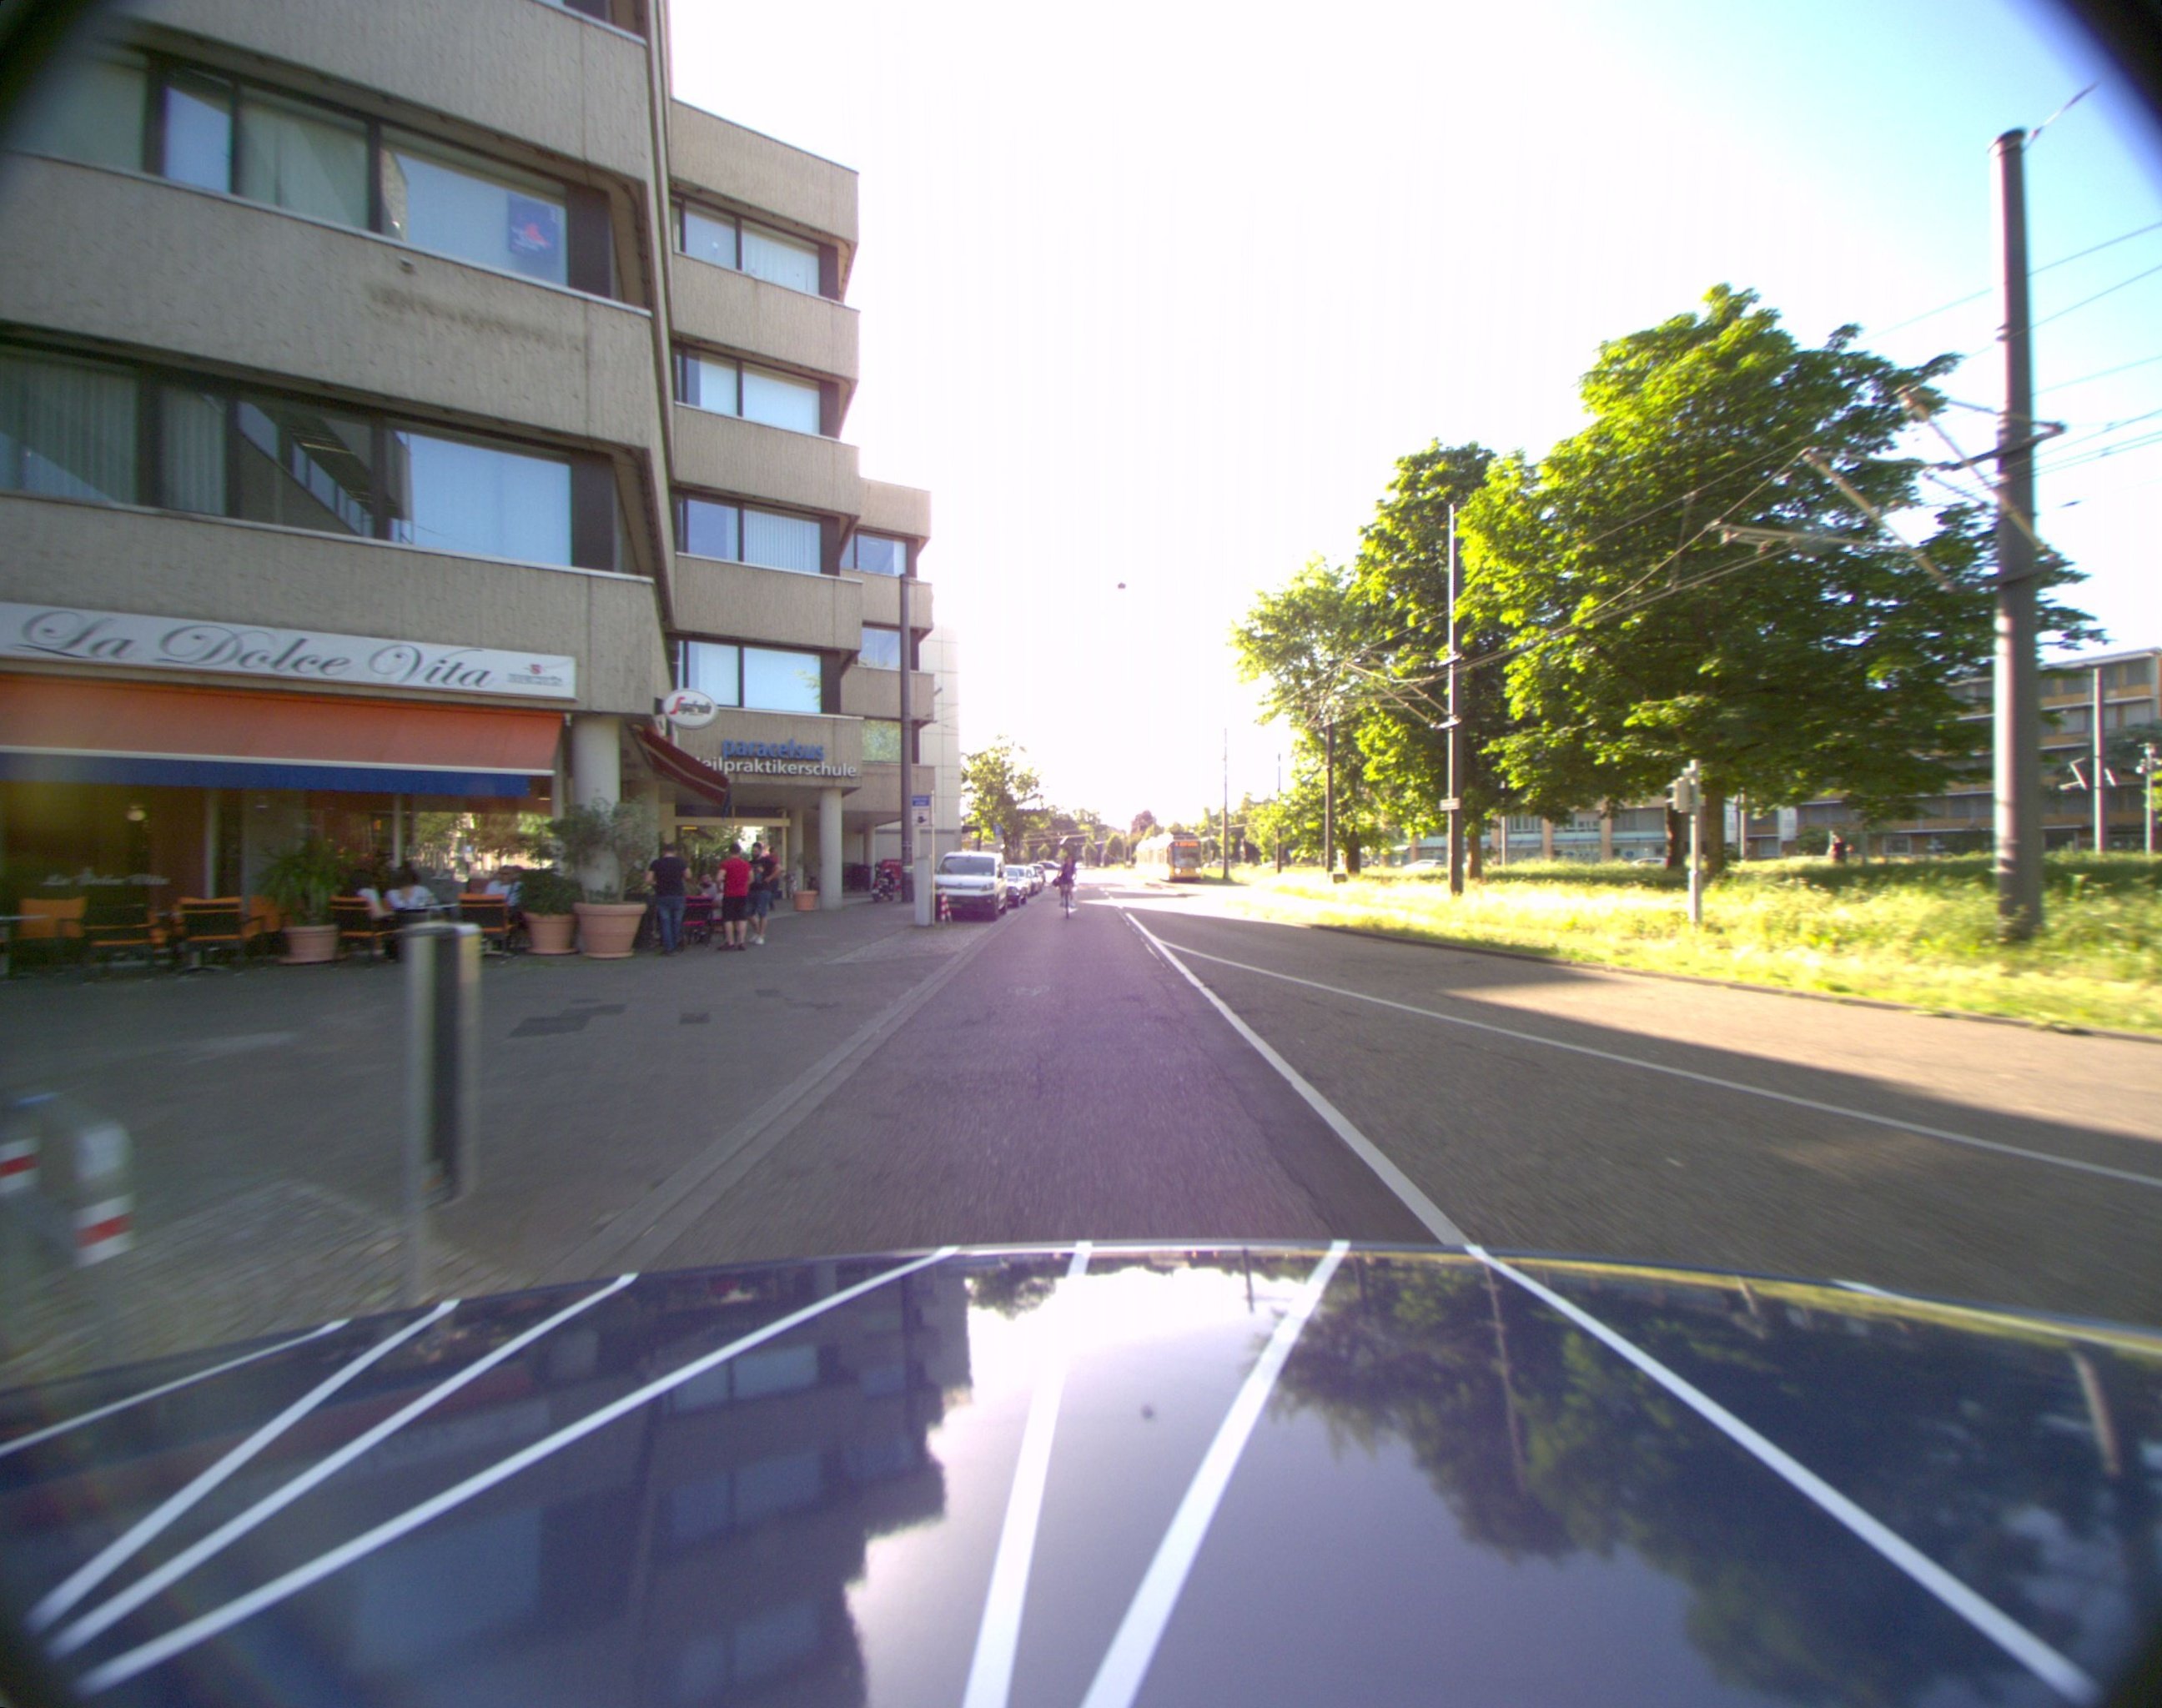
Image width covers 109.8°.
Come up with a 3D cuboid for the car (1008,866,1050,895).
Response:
[{"bbox_3d":[-2.917,1.475,43.395,1.855,1.336,4.599,-2,1,2],"label":"car"}]

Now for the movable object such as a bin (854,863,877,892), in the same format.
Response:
[{"bbox_3d":[-10.813,1.158,38.130,0.794,1.375,0.852,-2,1,8],"label":"movable object such as a bin"}]

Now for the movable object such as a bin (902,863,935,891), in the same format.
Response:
[{"bbox_3d":[-8.354,1.176,39.122,1.338,1.389,1.122,-2,1,7],"label":"movable object such as a bin"}]

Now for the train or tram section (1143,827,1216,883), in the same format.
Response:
[{"bbox_3d":[7.030,0.141,56.830,2.957,3.663,13.181,-1,-1,-3],"label":"train or tram section"}]

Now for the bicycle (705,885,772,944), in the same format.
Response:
[{"bbox_3d":[-6.851,1.179,15.285,0.564,1.028,1.644,-2,1,0],"label":"bicycle"}]

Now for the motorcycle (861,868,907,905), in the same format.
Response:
[{"bbox_3d":[-6.850,1.097,26.522,0.765,1.148,2.049,2,1,9],"label":"motorcycle"}]

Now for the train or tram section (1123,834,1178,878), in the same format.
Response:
[{"bbox_3d":[6.188,0.265,69.886,2.957,3.591,13.631,-1,-1,-3],"label":"train or tram section"}]

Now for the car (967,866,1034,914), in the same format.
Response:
[{"bbox_3d":[-2.870,1.254,28.151,1.778,1.445,4.731,-2,1,2],"label":"car"}]

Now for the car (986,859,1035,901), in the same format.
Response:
[{"bbox_3d":[-3.130,1.110,34.624,1.856,1.679,3.866,-2,1,-1],"label":"car"}]

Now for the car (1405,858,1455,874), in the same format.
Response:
[{"bbox_3d":[37.351,1.304,81.375,2.002,1.587,4.646,-2,1,-26],"label":"car"}]

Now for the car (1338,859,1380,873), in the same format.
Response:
[{"bbox_3d":[36.869,1.560,100.873,2.127,1.658,5.200,-2,1,-25],"label":"car"}]

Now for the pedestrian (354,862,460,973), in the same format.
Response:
[{"bbox_3d":[-9.020,0.822,10.210,0.845,1.394,0.829,-1,-1,-25],"label":"pedestrian"}]

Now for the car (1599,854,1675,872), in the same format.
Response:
[{"bbox_3d":[46.932,0.753,64.219,2.003,1.346,4.756,-2,-1,-34],"label":"car"}]

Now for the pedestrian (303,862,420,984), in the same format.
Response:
[{"bbox_3d":[-8.856,0.816,9.396,0.845,1.394,0.751,-2,0,-30],"label":"pedestrian"}]

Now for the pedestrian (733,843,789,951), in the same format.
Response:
[{"bbox_3d":[-5.613,0.739,13.359,0.672,1.845,0.610,2,1,3],"label":"pedestrian"}]

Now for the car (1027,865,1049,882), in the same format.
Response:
[{"bbox_3d":[-3.601,1.628,64.197,1.770,1.429,4.582,0,-1,-2],"label":"car"}]

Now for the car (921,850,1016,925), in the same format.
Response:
[{"bbox_3d":[-3.005,0.824,21.223,1.999,1.802,4.308,-2,1,-1],"label":"car"}]

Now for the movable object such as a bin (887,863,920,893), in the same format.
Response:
[{"bbox_3d":[-8.859,1.185,37.986,1.303,1.425,0.959,-2,1,8],"label":"movable object such as a bin"}]

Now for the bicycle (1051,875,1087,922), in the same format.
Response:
[{"bbox_3d":[-0.317,1.216,21.390,0.888,1.129,2.228,-2,1,1],"label":"bicycle"}]

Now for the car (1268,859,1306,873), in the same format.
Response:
[{"bbox_3d":[27.556,1.619,101.862,2.109,1.724,5.075,-1,0,-26],"label":"car"}]

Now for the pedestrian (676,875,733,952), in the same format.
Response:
[{"bbox_3d":[-6.396,0.998,12.937,0.631,1.229,0.624,1,1,3],"label":"pedestrian"}]

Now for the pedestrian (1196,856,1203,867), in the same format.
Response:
[{"bbox_3d":[21.764,1.301,139.946,0.880,2.002,0.923,-2,1,-24],"label":"pedestrian"}]

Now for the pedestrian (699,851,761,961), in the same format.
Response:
[{"bbox_3d":[-5.687,0.821,12.342,0.585,1.704,0.698,-2,1,3],"label":"pedestrian"}]

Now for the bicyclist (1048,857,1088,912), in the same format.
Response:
[{"bbox_3d":[-0.343,0.840,21.398,1.040,1.475,0.988,-2,1,1],"label":"bicyclist"}]

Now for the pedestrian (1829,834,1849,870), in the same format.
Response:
[{"bbox_3d":[34.796,-0.106,34.887,0.553,1.606,0.676,-1,1,38],"label":"pedestrian"}]

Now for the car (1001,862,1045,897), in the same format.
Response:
[{"bbox_3d":[-2.884,1.250,38.645,1.675,1.510,4.199,-2,1,2],"label":"car"}]

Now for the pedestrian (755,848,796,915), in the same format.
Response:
[{"bbox_3d":[-8.472,0.747,21.081,0.704,1.805,0.718,-1,1,39],"label":"pedestrian"}]

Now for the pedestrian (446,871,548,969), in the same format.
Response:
[{"bbox_3d":[-8.096,0.892,10.576,0.844,1.284,0.830,1,1,-12],"label":"pedestrian"}]

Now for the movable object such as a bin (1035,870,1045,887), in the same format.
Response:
[{"bbox_3d":[-2.717,1.608,50.550,0.594,1.077,0.604,-2,1,-3],"label":"movable object such as a bin"}]

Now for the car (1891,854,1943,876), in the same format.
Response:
[{"bbox_3d":[66.919,0.849,60.897,1.994,1.572,4.007,-1,1,36],"label":"car"}]

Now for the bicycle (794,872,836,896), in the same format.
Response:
[{"bbox_3d":[-11.381,1.290,32.460,1.853,0.975,0.683,-2,-1,34],"label":"bicycle"}]

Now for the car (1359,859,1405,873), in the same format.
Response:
[{"bbox_3d":[34.556,1.333,87.363,2.002,1.439,5.010,-2,1,-22],"label":"car"}]

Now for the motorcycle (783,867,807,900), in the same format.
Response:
[{"bbox_3d":[-10.718,1.098,28.520,0.513,1.161,2.099,-2,-1,-12],"label":"motorcycle"}]

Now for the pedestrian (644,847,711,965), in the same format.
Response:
[{"bbox_3d":[-6.065,0.755,11.435,0.845,1.700,0.718,1,0,-28],"label":"pedestrian"}]
